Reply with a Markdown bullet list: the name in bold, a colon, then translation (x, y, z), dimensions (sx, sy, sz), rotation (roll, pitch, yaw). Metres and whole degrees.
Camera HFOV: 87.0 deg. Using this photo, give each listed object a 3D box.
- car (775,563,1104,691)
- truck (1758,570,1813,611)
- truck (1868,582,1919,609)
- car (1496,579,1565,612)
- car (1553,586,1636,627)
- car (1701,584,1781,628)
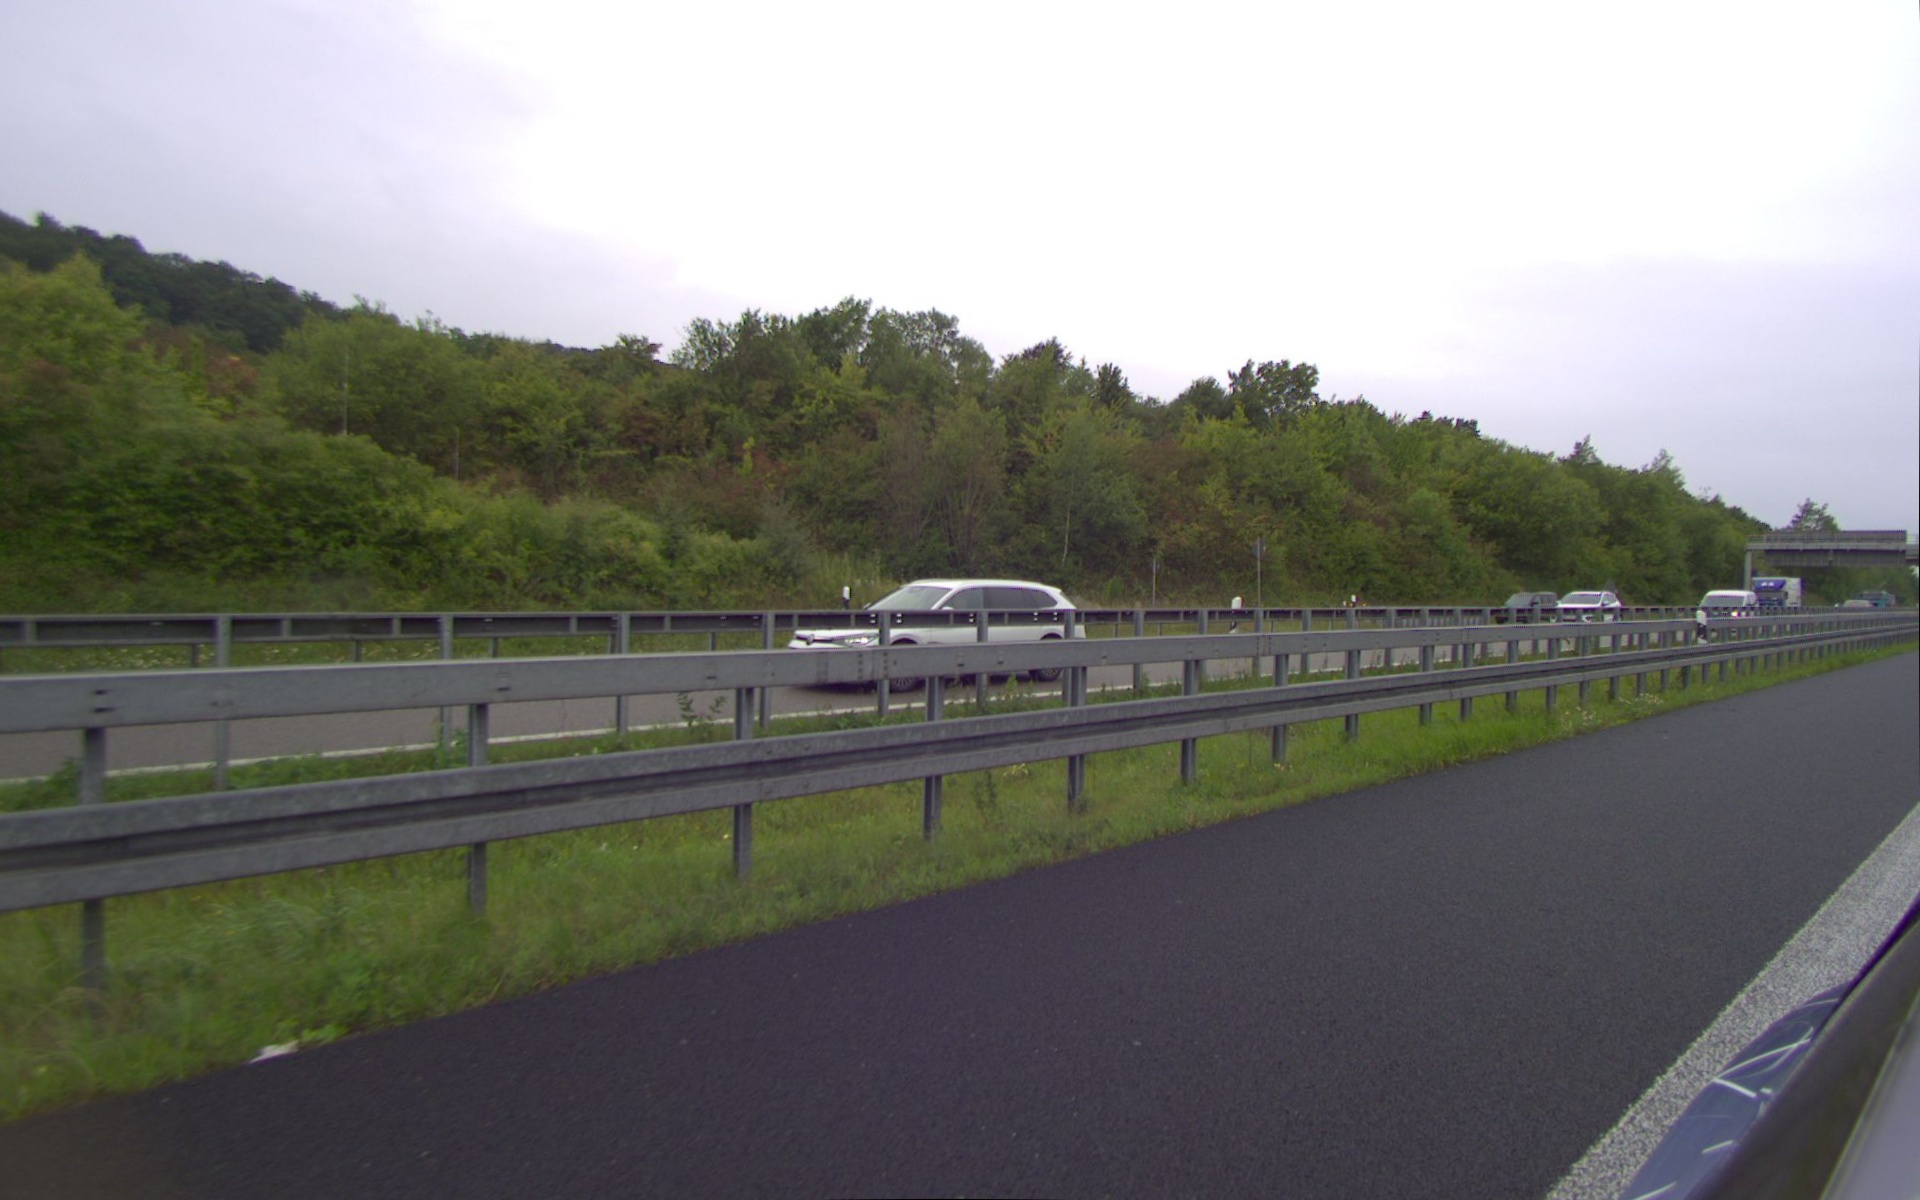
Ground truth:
- **car**: translation (-0.174, 0.300, 14.704), dimensions (4.615, 1.567, 2.010), rotation (0, 1, -42)
- **truck**: translation (74.074, -0.846, 90.704), dimensions (2.903, 3.460, 9.132), rotation (1, 1, 45)
- **truck**: translation (125.405, -0.632, 135.842), dimensions (13.108, 3.460, 2.909), rotation (0, 1, -38)
- **car**: translation (32.212, -0.267, 57.094), dimensions (4.561, 1.757, 1.997), rotation (0, 1, -41)
- **car**: translation (26.813, 0.224, 42.739), dimensions (4.074, 1.633, 1.899), rotation (0, 1, -41)
- **car**: translation (34.169, 0.229, 44.238), dimensions (4.202, 1.837, 2.011), rotation (0, 1, -42)
